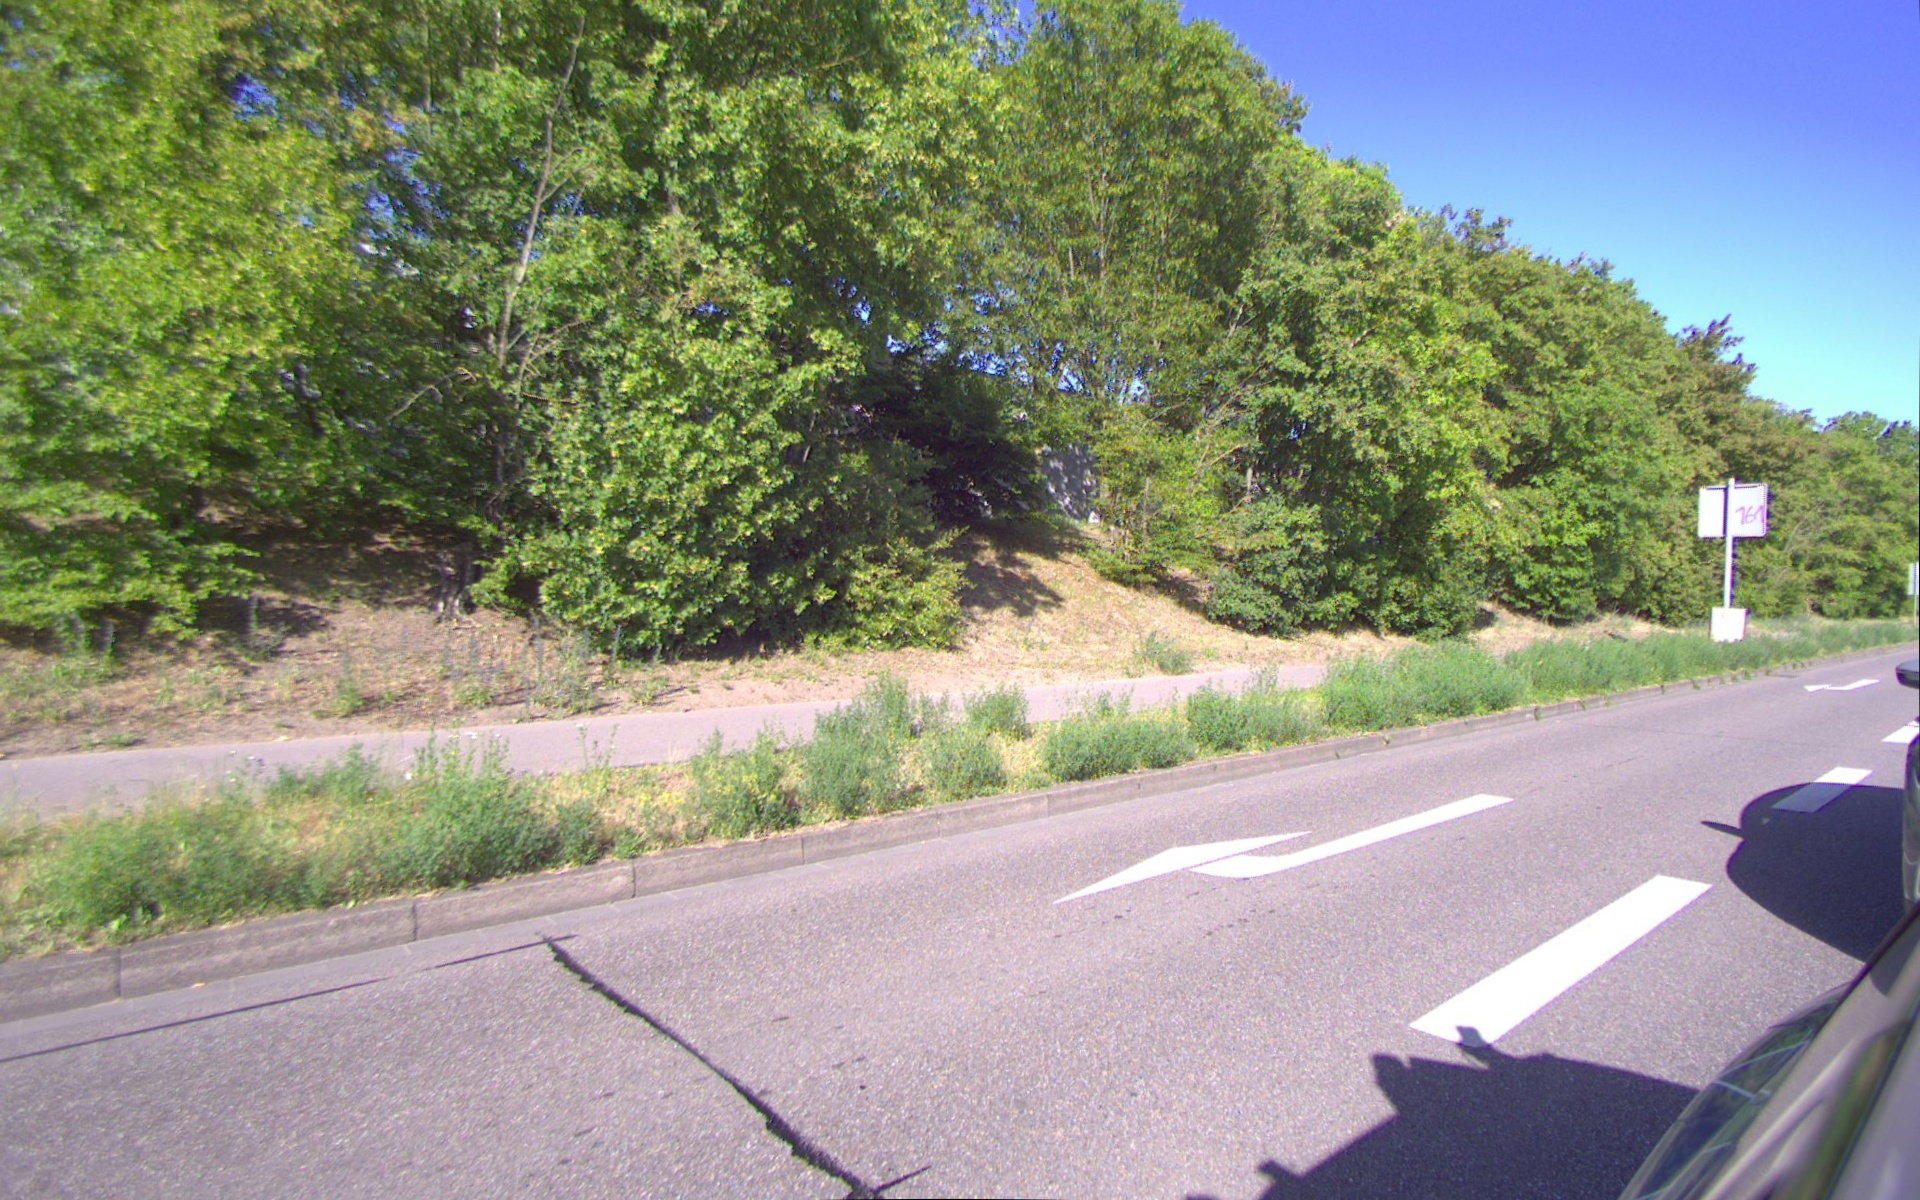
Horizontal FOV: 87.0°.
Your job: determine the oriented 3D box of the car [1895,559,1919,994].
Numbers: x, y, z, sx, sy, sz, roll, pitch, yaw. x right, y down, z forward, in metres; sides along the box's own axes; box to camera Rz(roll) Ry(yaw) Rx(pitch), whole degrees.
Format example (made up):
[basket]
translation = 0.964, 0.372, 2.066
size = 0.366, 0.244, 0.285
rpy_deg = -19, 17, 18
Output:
[car]
translation = 5.715, 0.652, 4.529
size = 4.327, 1.603, 1.860
rpy_deg = 0, 0, -42
